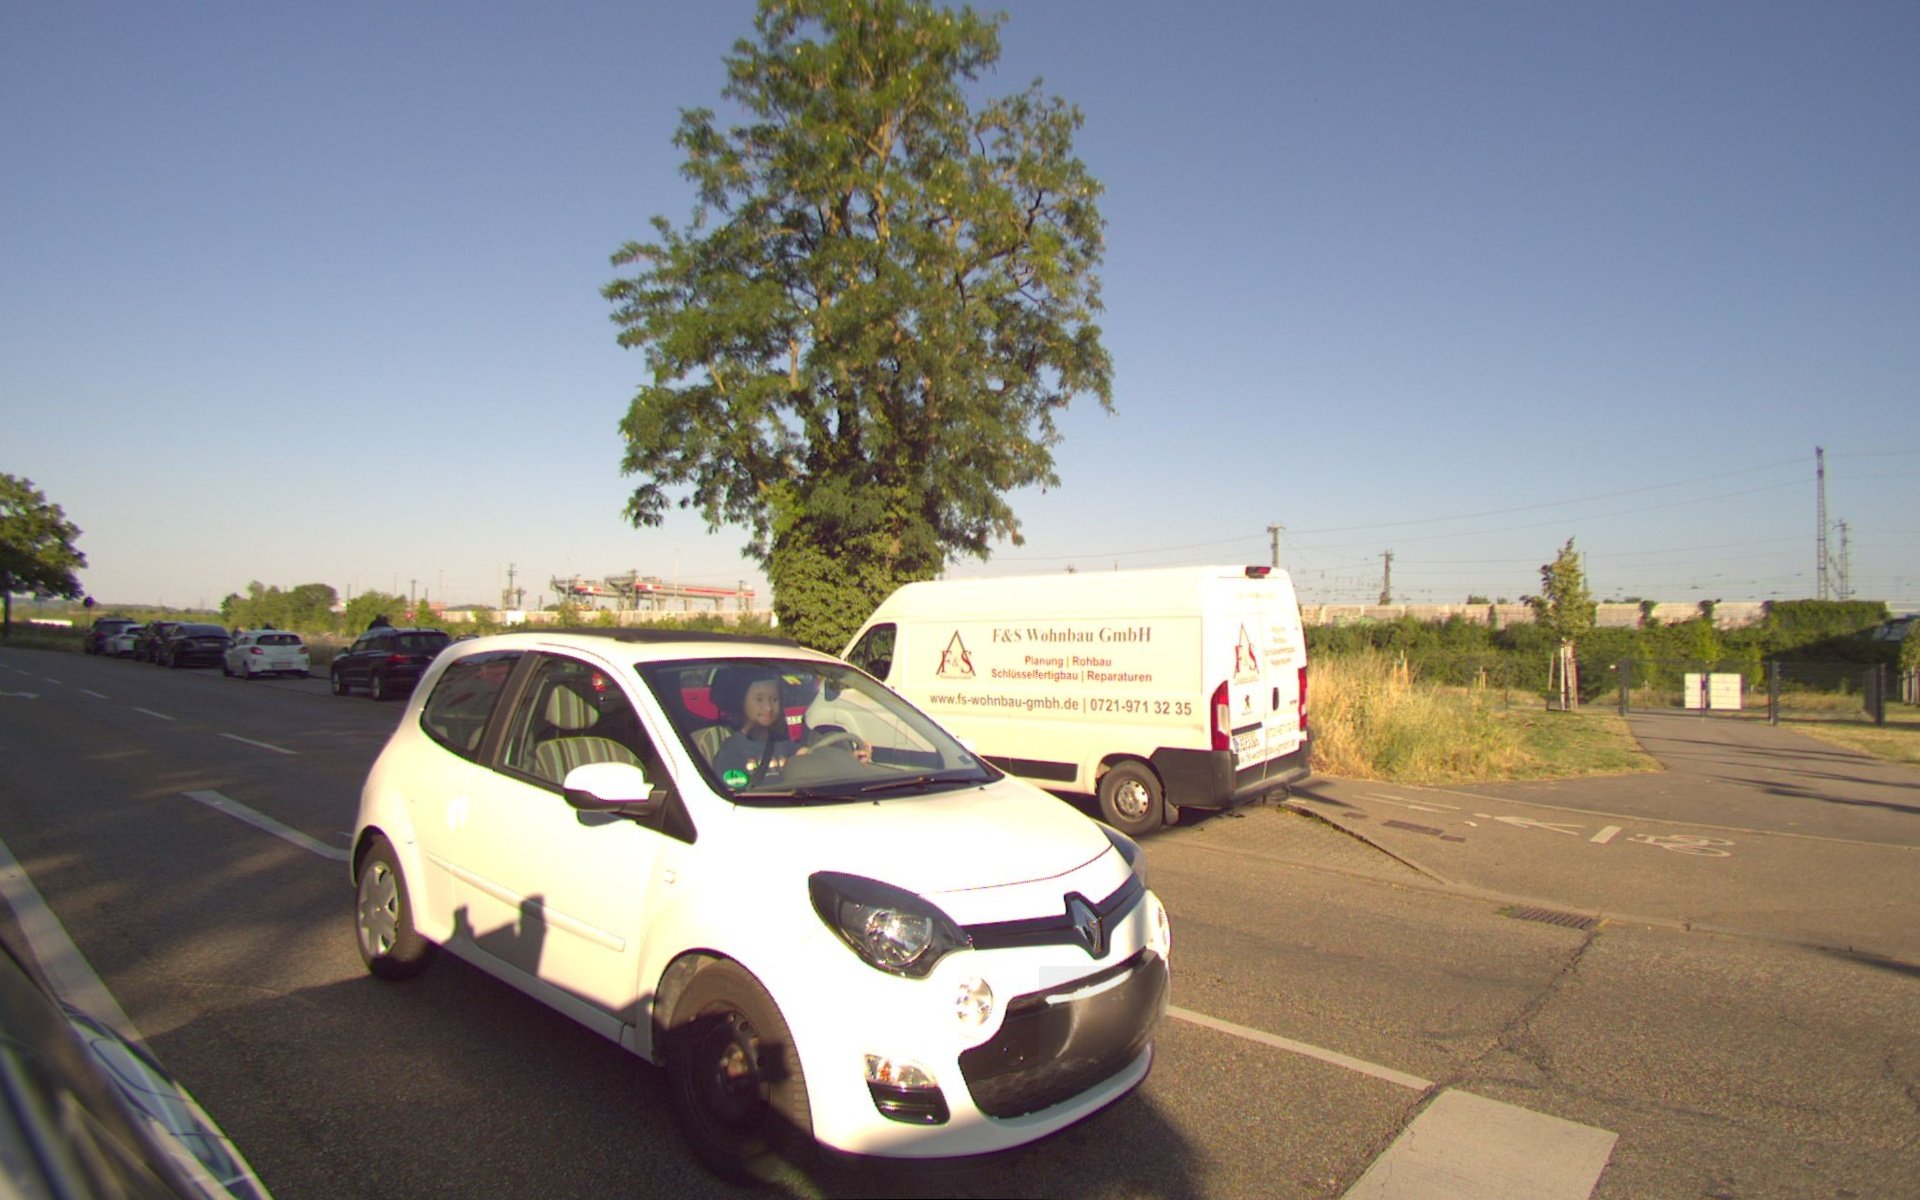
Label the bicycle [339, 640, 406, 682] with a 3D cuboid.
[{"bbox_3d":[-18.032,1.862,31.041,2.480,1.198,0.928,-1,-4,40],"label":"bicycle"}]

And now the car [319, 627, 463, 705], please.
[{"bbox_3d":[-13.602,1.528,24.106,4.003,1.672,1.642,-1,-4,40],"label":"car"}]

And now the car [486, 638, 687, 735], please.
[{"bbox_3d":[-6.804,1.498,18.309,3.814,1.541,1.723,-1,-4,40],"label":"car"}]

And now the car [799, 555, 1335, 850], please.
[{"bbox_3d":[0.924,0.897,11.074,5.556,2.455,2.207,-1,-1,40],"label":"car"}]

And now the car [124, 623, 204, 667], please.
[{"bbox_3d":[-32.389,1.816,41.140,4.219,1.650,1.799,-1,-4,42],"label":"car"}]

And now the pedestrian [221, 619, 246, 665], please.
[{"bbox_3d":[-32.377,1.867,45.108,0.710,2.029,0.697,-1,-4,42],"label":"pedestrian"}]

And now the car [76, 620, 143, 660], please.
[{"bbox_3d":[-40.846,1.900,48.597,4.219,1.789,1.866,-1,-4,43],"label":"car"}]

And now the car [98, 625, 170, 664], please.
[{"bbox_3d":[-36.476,1.956,44.650,4.219,1.586,1.799,-1,-4,42],"label":"car"}]

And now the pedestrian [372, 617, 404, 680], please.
[{"bbox_3d":[-18.489,1.562,32.713,0.729,2.029,0.608,-1,-4,39],"label":"pedestrian"}]

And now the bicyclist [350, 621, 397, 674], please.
[{"bbox_3d":[-17.961,1.455,31.005,1.145,1.609,0.855,-1,-4,40],"label":"bicyclist"}]

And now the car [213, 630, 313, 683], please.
[{"bbox_3d":[-21.564,1.735,31.282,3.582,1.538,1.684,-1,-4,42],"label":"car"}]

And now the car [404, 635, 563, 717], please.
[{"bbox_3d":[-10.019,1.549,21.188,3.577,1.541,1.642,-1,-4,40],"label":"car"}]

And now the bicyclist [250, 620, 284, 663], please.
[{"bbox_3d":[-26.234,1.569,38.324,1.146,1.609,0.758,-1,-4,43],"label":"bicyclist"}]

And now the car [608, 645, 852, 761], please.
[{"bbox_3d":[-3.554,1.476,15.387,3.692,1.498,1.723,-1,-4,40],"label":"car"}]

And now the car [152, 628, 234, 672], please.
[{"bbox_3d":[-28.239,1.819,37.218,1.798,1.538,4.292,5,-4,-45],"label":"car"}]

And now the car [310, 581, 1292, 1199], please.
[{"bbox_3d":[-0.873,0.775,3.934,3.772,1.480,1.683,-1,-4,40],"label":"car"}]
